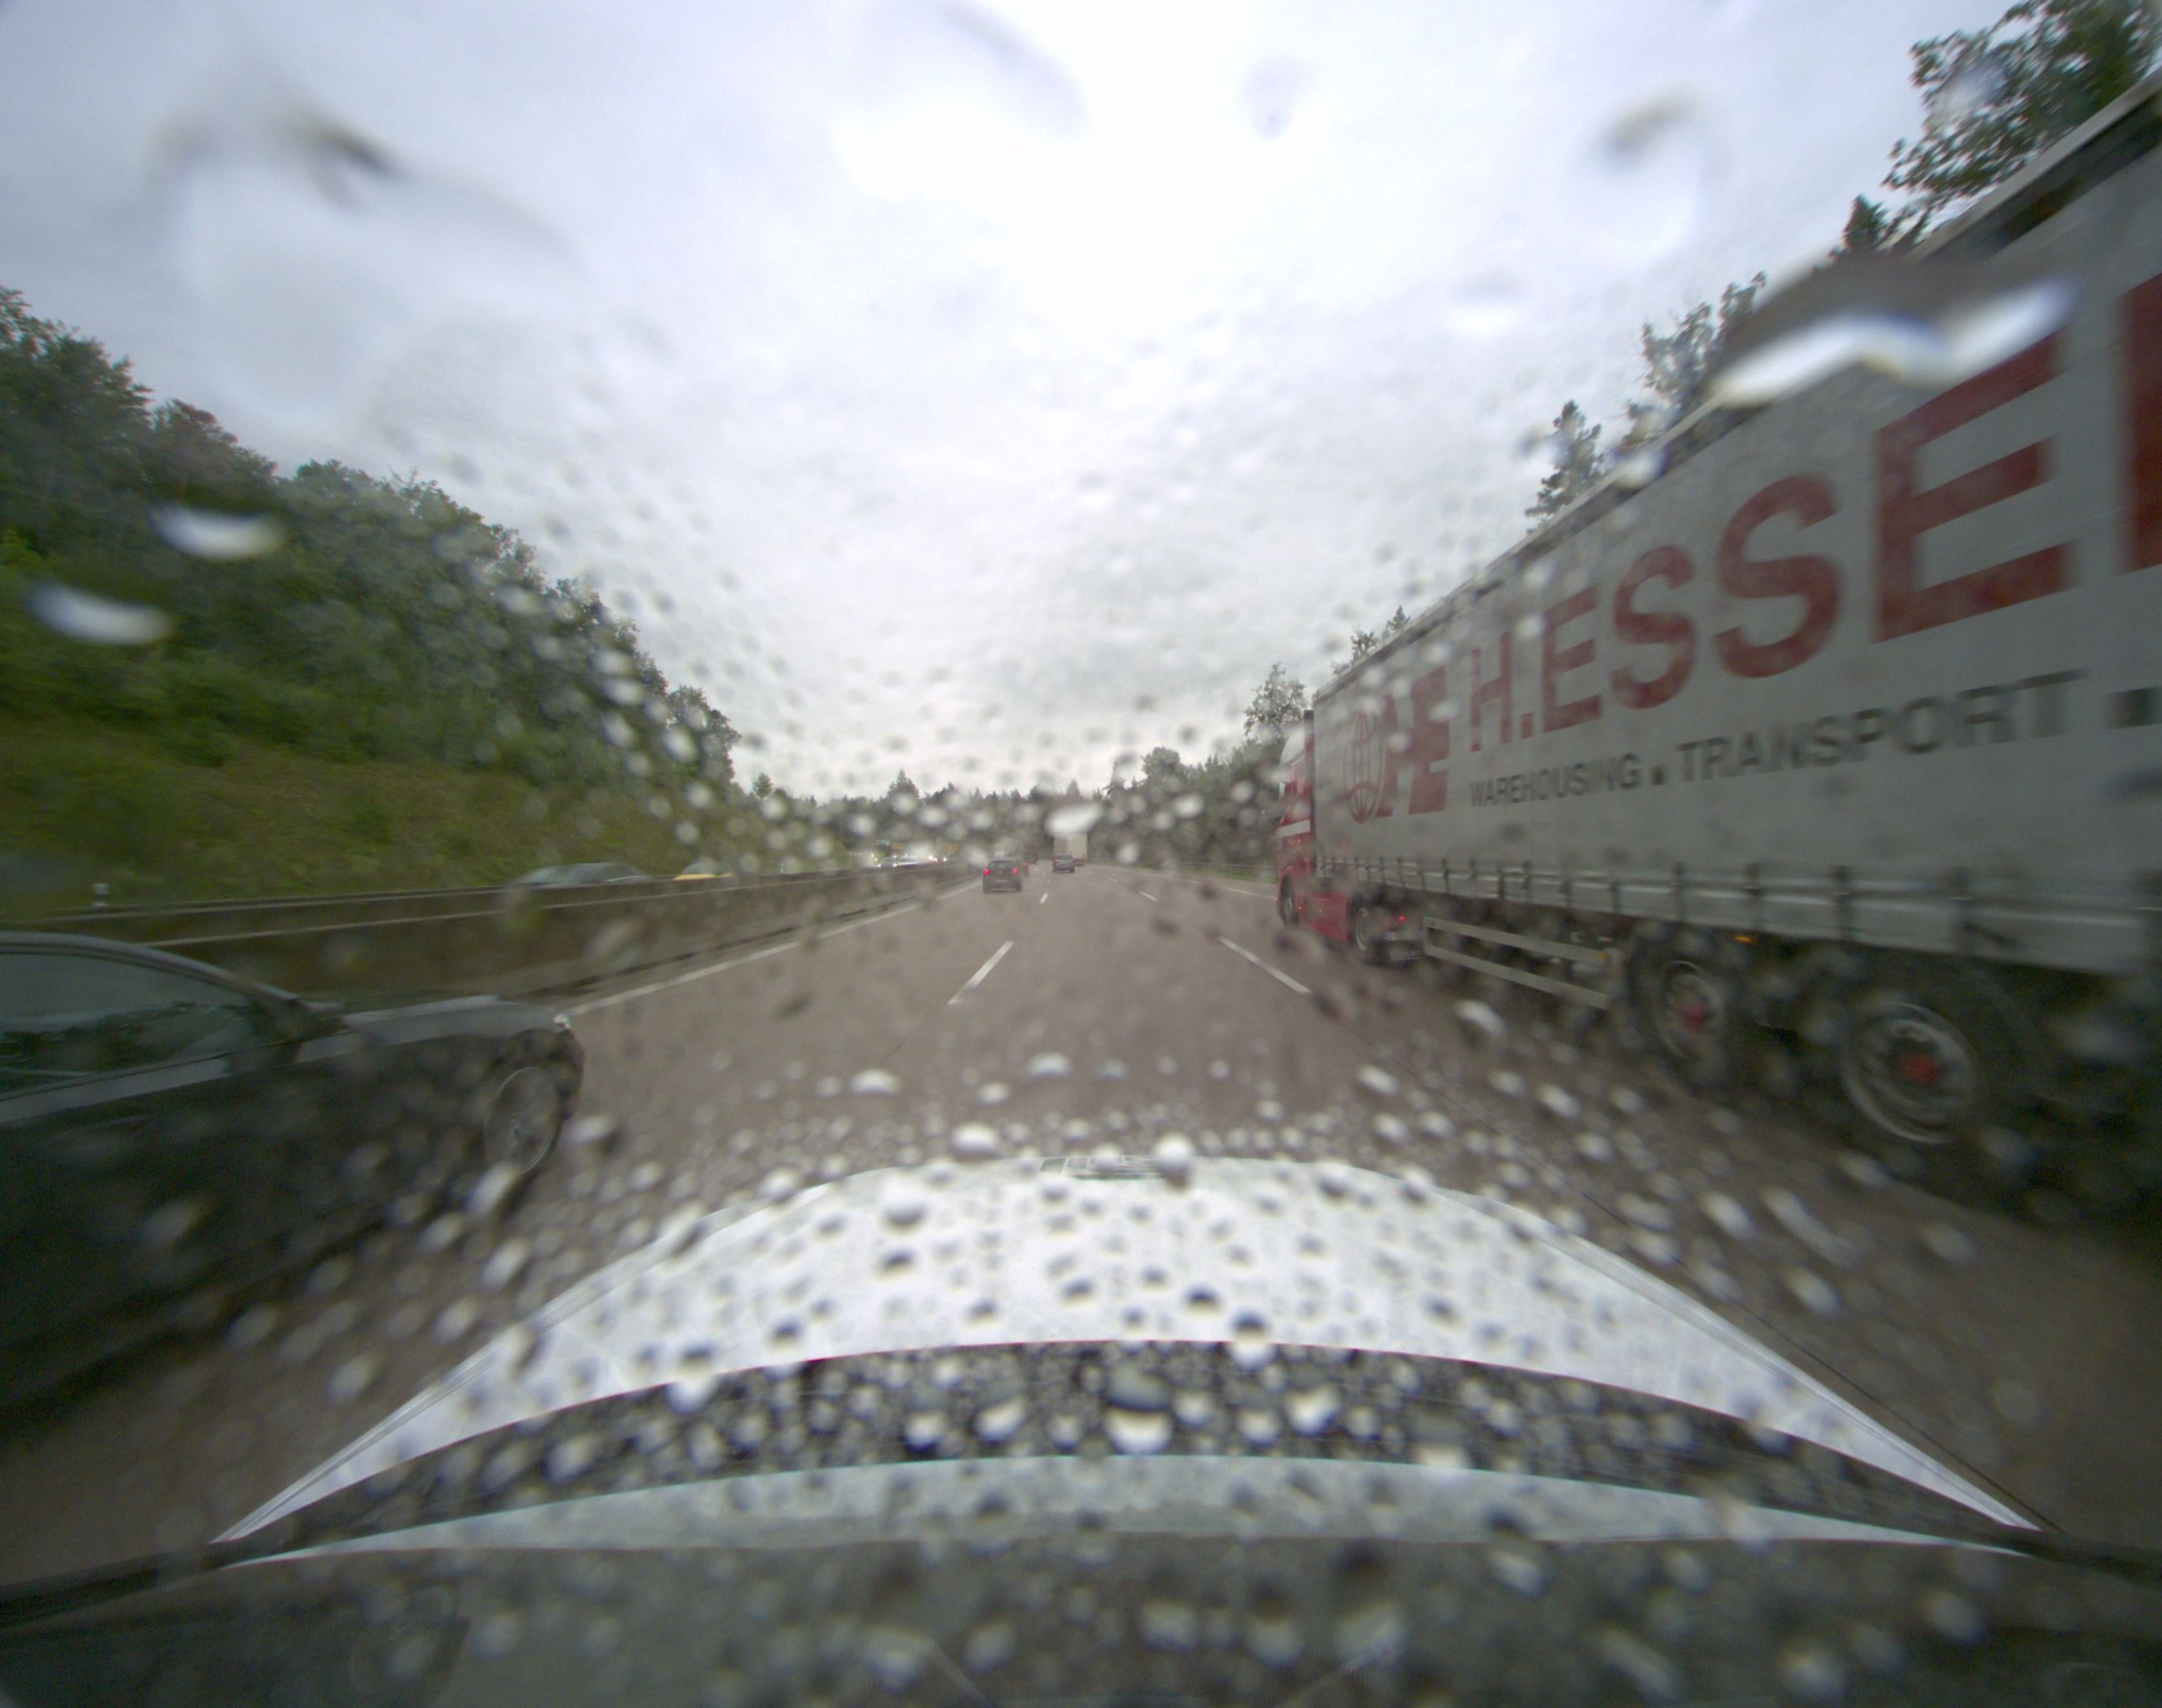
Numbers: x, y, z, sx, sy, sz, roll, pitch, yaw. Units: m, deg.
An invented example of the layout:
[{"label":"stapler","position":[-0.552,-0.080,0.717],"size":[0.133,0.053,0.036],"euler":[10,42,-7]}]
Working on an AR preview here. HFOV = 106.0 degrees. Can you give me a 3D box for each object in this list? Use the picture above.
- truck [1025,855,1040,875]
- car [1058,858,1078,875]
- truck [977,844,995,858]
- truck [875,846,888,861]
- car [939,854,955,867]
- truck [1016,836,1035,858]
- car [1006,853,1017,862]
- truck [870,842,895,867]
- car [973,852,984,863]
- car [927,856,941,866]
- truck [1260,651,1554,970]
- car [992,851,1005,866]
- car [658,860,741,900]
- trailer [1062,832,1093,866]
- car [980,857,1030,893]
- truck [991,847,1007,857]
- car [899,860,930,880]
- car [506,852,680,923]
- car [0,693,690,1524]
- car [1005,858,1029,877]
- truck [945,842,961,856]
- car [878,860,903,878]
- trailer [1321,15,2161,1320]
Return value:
[{"label":"truck","position":[-7.412,1.619,124.213],"size":[2.264,2.886,7.894],"euler":[0,1,-3]},{"label":"car","position":[-1.091,1.063,69.324],"size":[1.549,1.351,3.683],"euler":[1,0,0]},{"label":"truck","position":[-21.166,-0.718,181.171],"size":[3.086,2.905,7.868],"euler":[0,1,-13]},{"label":"truck","position":[-53.729,-0.178,219.876],"size":[2.908,3.889,7.338],"euler":[-1,0,-11]},{"label":"car","position":[-20.047,0.966,122.045],"size":[1.990,1.768,4.530],"euler":[-1,0,-4]},{"label":"truck","position":[-10.906,-1.447,159.832],"size":[3.364,4.131,10.417],"euler":[0,1,-6]},{"label":"car","position":[-11.974,0.535,140.185],"size":[1.878,1.473,3.994],"euler":[1,0,-4]},{"label":"truck","position":[-33.090,0.069,135.794],"size":[2.923,3.960,8.100],"euler":[-1,0,-6]},{"label":"car","position":[-20.393,0.687,161.591],"size":[1.991,2.059,3.992],"euler":[-1,0,-6]},{"label":"car","position":[-26.913,1.266,149.222],"size":[1.990,1.585,4.765],"euler":[-1,0,-4]},{"label":"truck","position":[4.800,-0.551,13.381],"size":[2.366,3.953,6.161],"euler":[-2,0,1]},{"label":"car","position":[-11.908,0.662,117.001],"size":[1.722,2.013,3.651],"euler":[-1,0,-4]},{"label":"car","position":[-16.029,1.040,34.442],"size":[1.570,1.487,4.280],"euler":[-1,0,-2]},{"label":"trailer","position":[-0.561,-0.686,106.038],"size":[2.418,4.068,12.023],"euler":[0,1,-7]},{"label":"car","position":[-3.319,0.889,36.130],"size":[1.677,1.462,3.686],"euler":[1,0,2]},{"label":"truck","position":[-19.332,-0.427,191.309],"size":[2.977,2.309,6.639],"euler":[1,0,-12]},{"label":"car","position":[-13.558,1.279,66.502],"size":[1.737,1.561,4.281],"euler":[-1,0,-1]},{"label":"car","position":[-11.813,0.743,20.081],"size":[1.858,1.548,3.999],"euler":[-1,0,0]},{"label":"car","position":[-3.489,0.610,2.008],"size":[1.900,1.945,6.164],"euler":[-1,0,2]},{"label":"car","position":[-4.771,0.999,61.291],"size":[1.549,1.351,3.682],"euler":[1,0,-1]},{"label":"truck","position":[-38.598,-1.405,244.960],"size":[3.750,4.210,6.776],"euler":[-1,0,-18]},{"label":"car","position":[-18.677,1.434,79.980],"size":[1.806,1.684,3.992],"euler":[-1,0,-6]},{"label":"trailer","position":[4.575,-0.563,5.742],"size":[2.361,3.954,12.525],"euler":[-2,0,2]}]
